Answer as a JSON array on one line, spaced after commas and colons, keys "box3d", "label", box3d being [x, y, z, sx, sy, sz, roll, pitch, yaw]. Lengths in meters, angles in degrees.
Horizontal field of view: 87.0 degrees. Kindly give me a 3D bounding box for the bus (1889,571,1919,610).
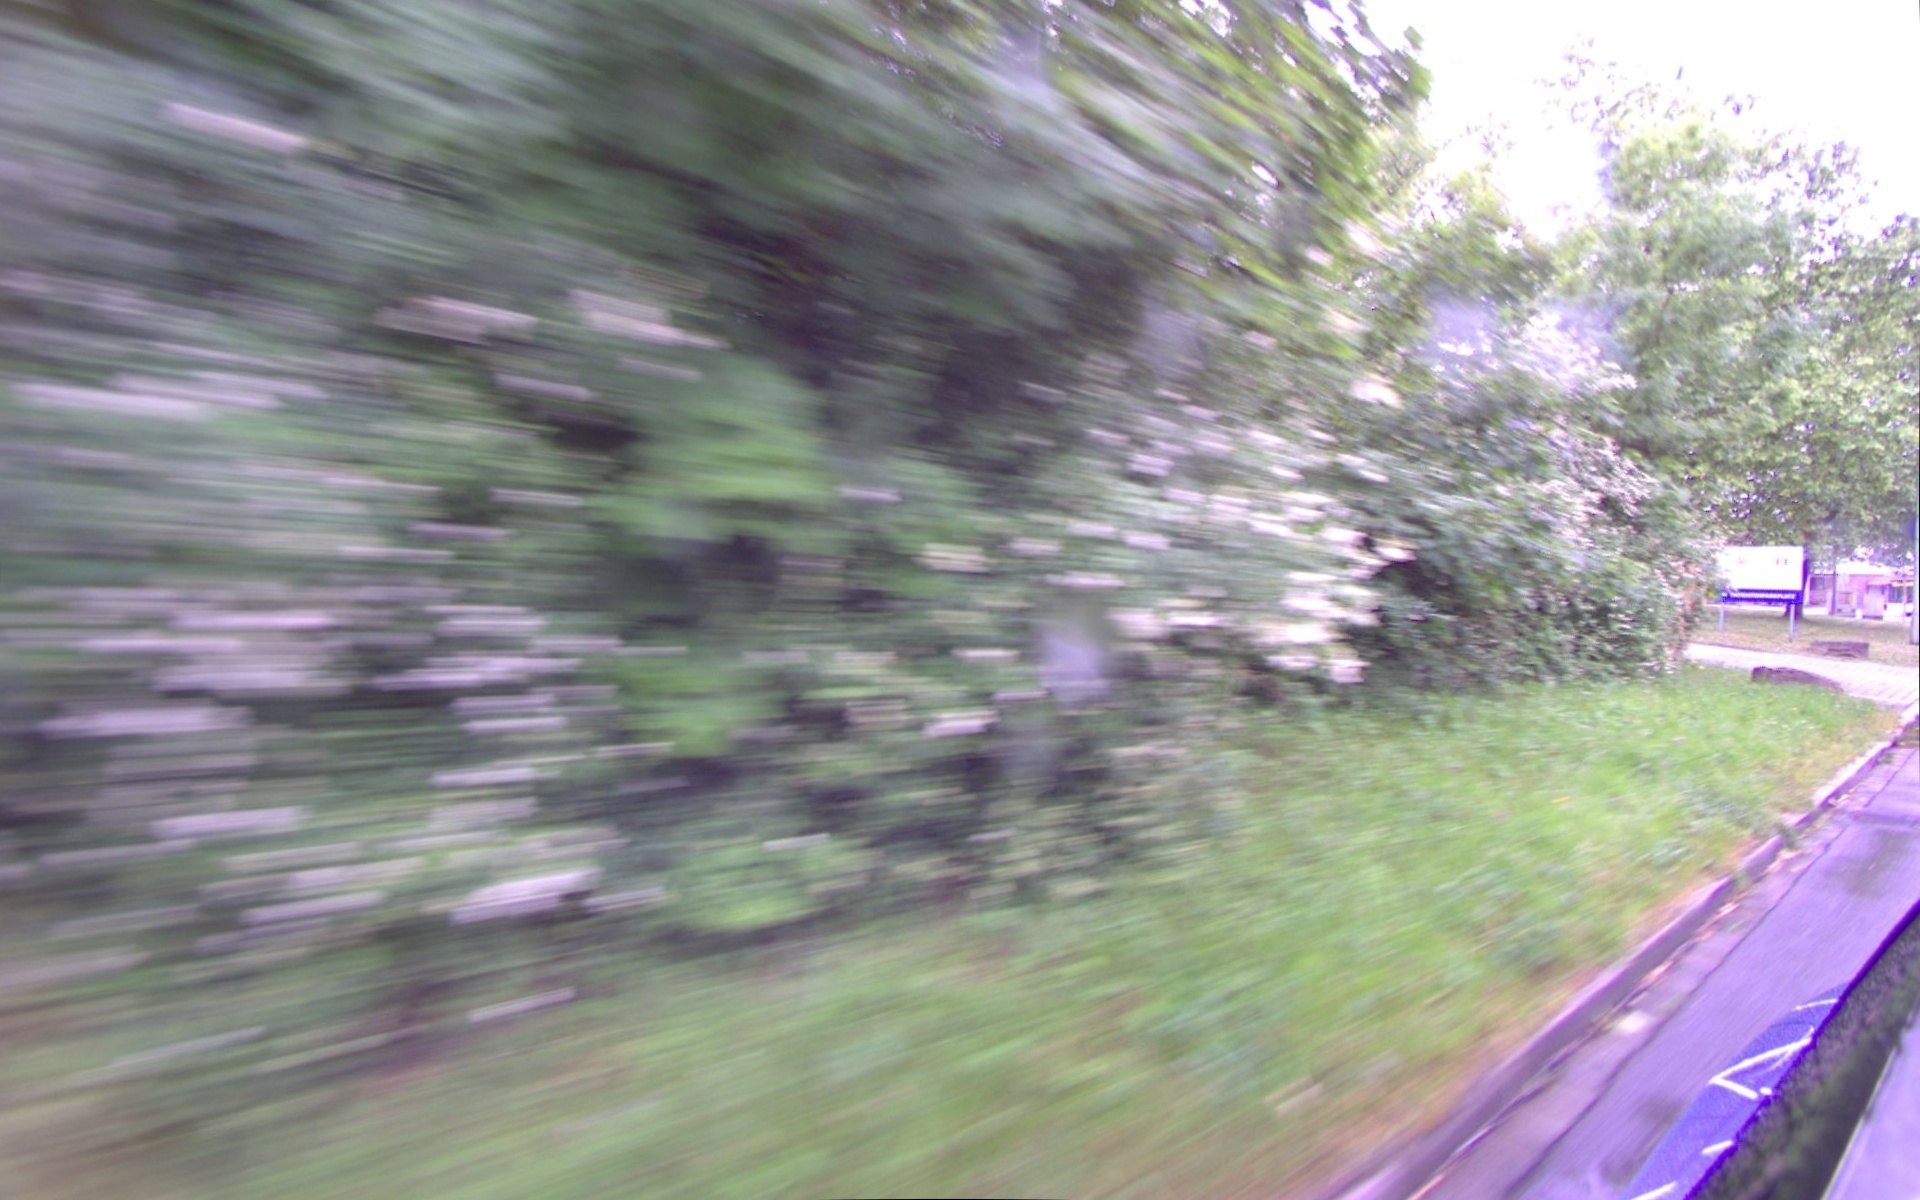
[{"box3d": [73.840, -0.803, 75.158, 10.169, 2.822, 2.905, -1, 0, -22], "label": "bus"}]
